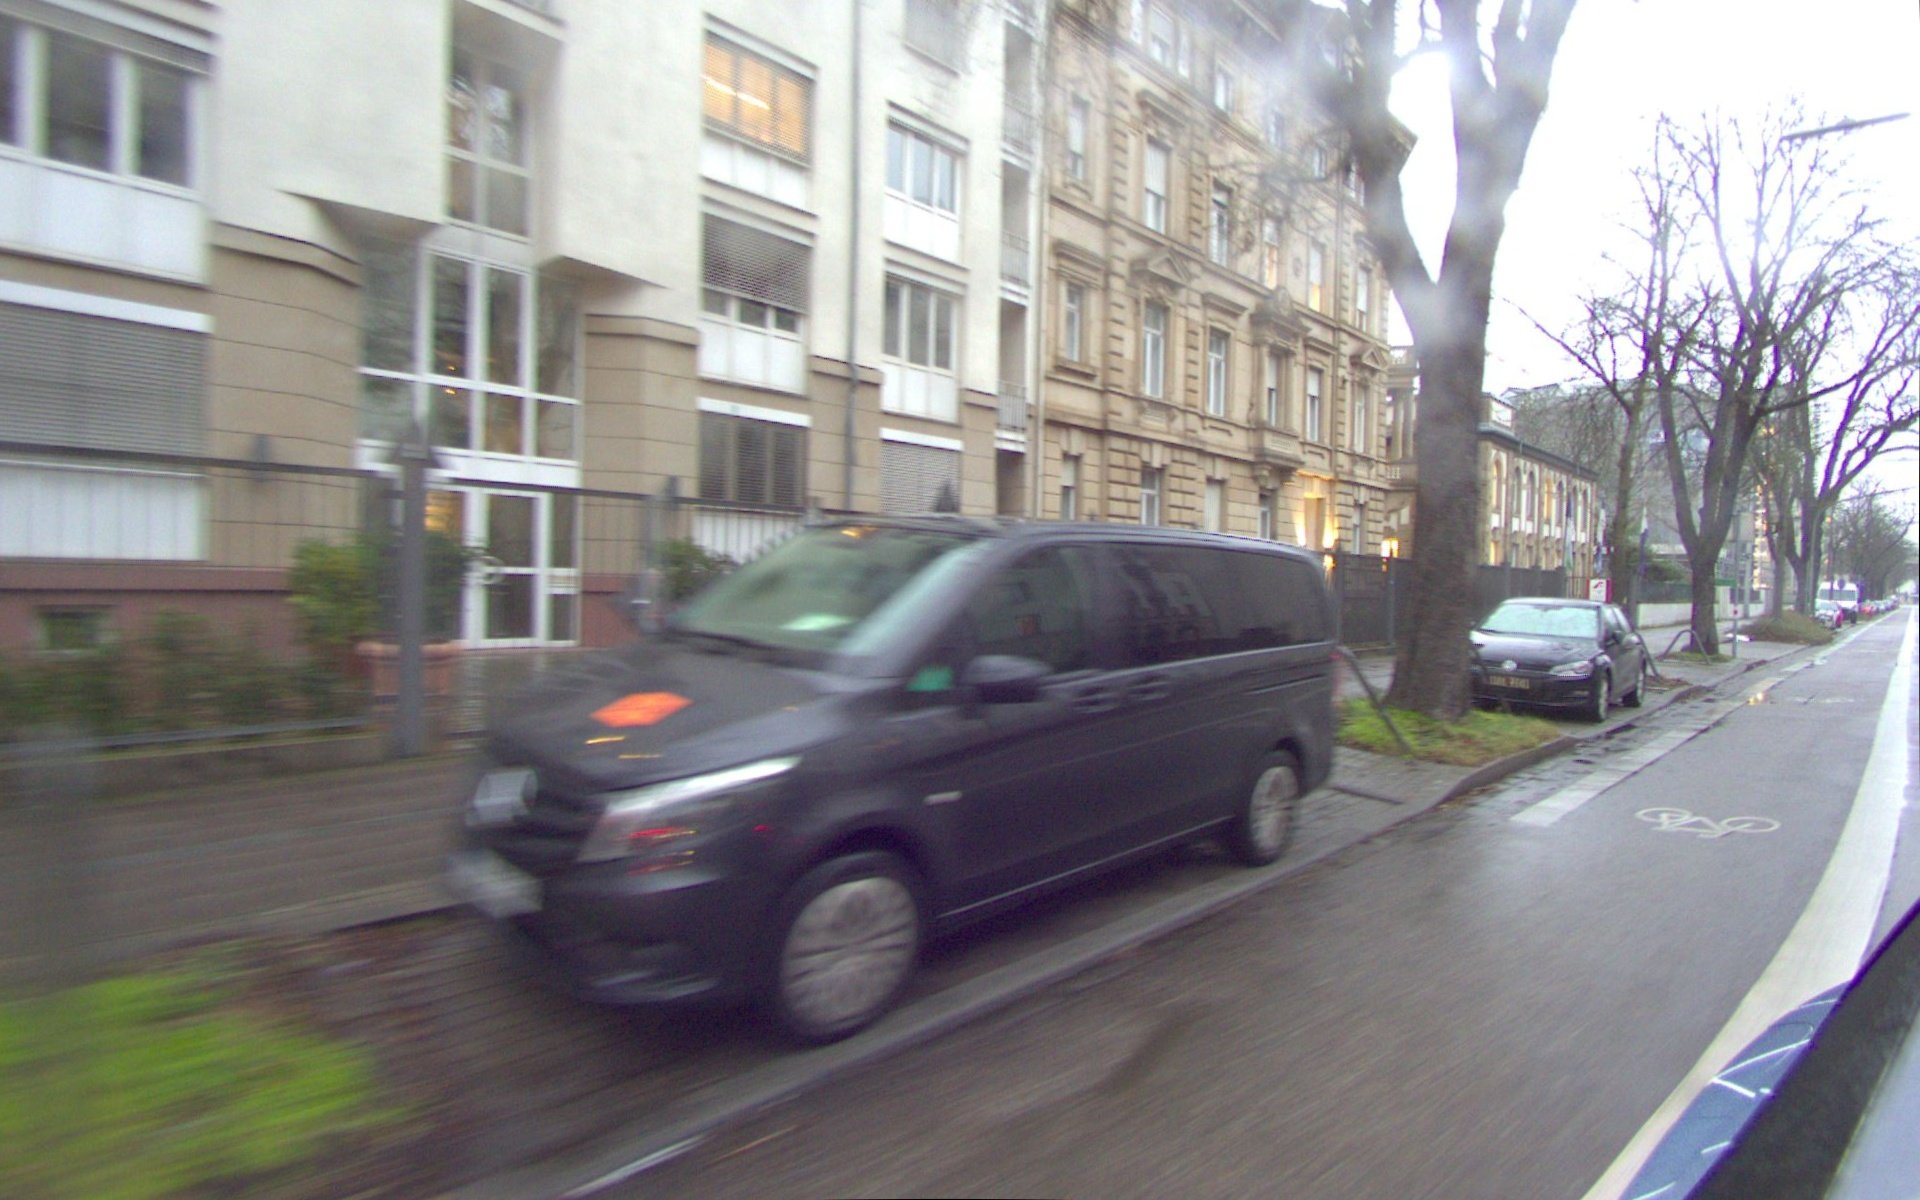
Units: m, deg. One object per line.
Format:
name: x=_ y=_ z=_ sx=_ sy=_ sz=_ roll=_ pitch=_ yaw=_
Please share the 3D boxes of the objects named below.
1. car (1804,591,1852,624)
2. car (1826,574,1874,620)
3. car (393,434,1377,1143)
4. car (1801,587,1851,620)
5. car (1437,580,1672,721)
car: x=40.534 y=0.324 z=47.273 sx=1.622 sy=1.425 sz=3.941 roll=1 pitch=2 yaw=41
car: x=54.073 y=-0.251 z=61.526 sx=2.085 sy=2.670 sz=5.369 roll=1 pitch=2 yaw=41
car: x=0.109 y=0.453 z=5.173 sx=2.032 sy=1.899 sz=4.884 roll=3 pitch=2 yaw=44
car: x=47.078 y=0.160 z=55.015 sx=1.992 sy=1.702 sz=3.941 roll=1 pitch=2 yaw=41
car: x=7.912 y=0.551 z=13.292 sx=1.758 sy=1.463 sz=4.093 roll=5 pitch=3 yaw=43
